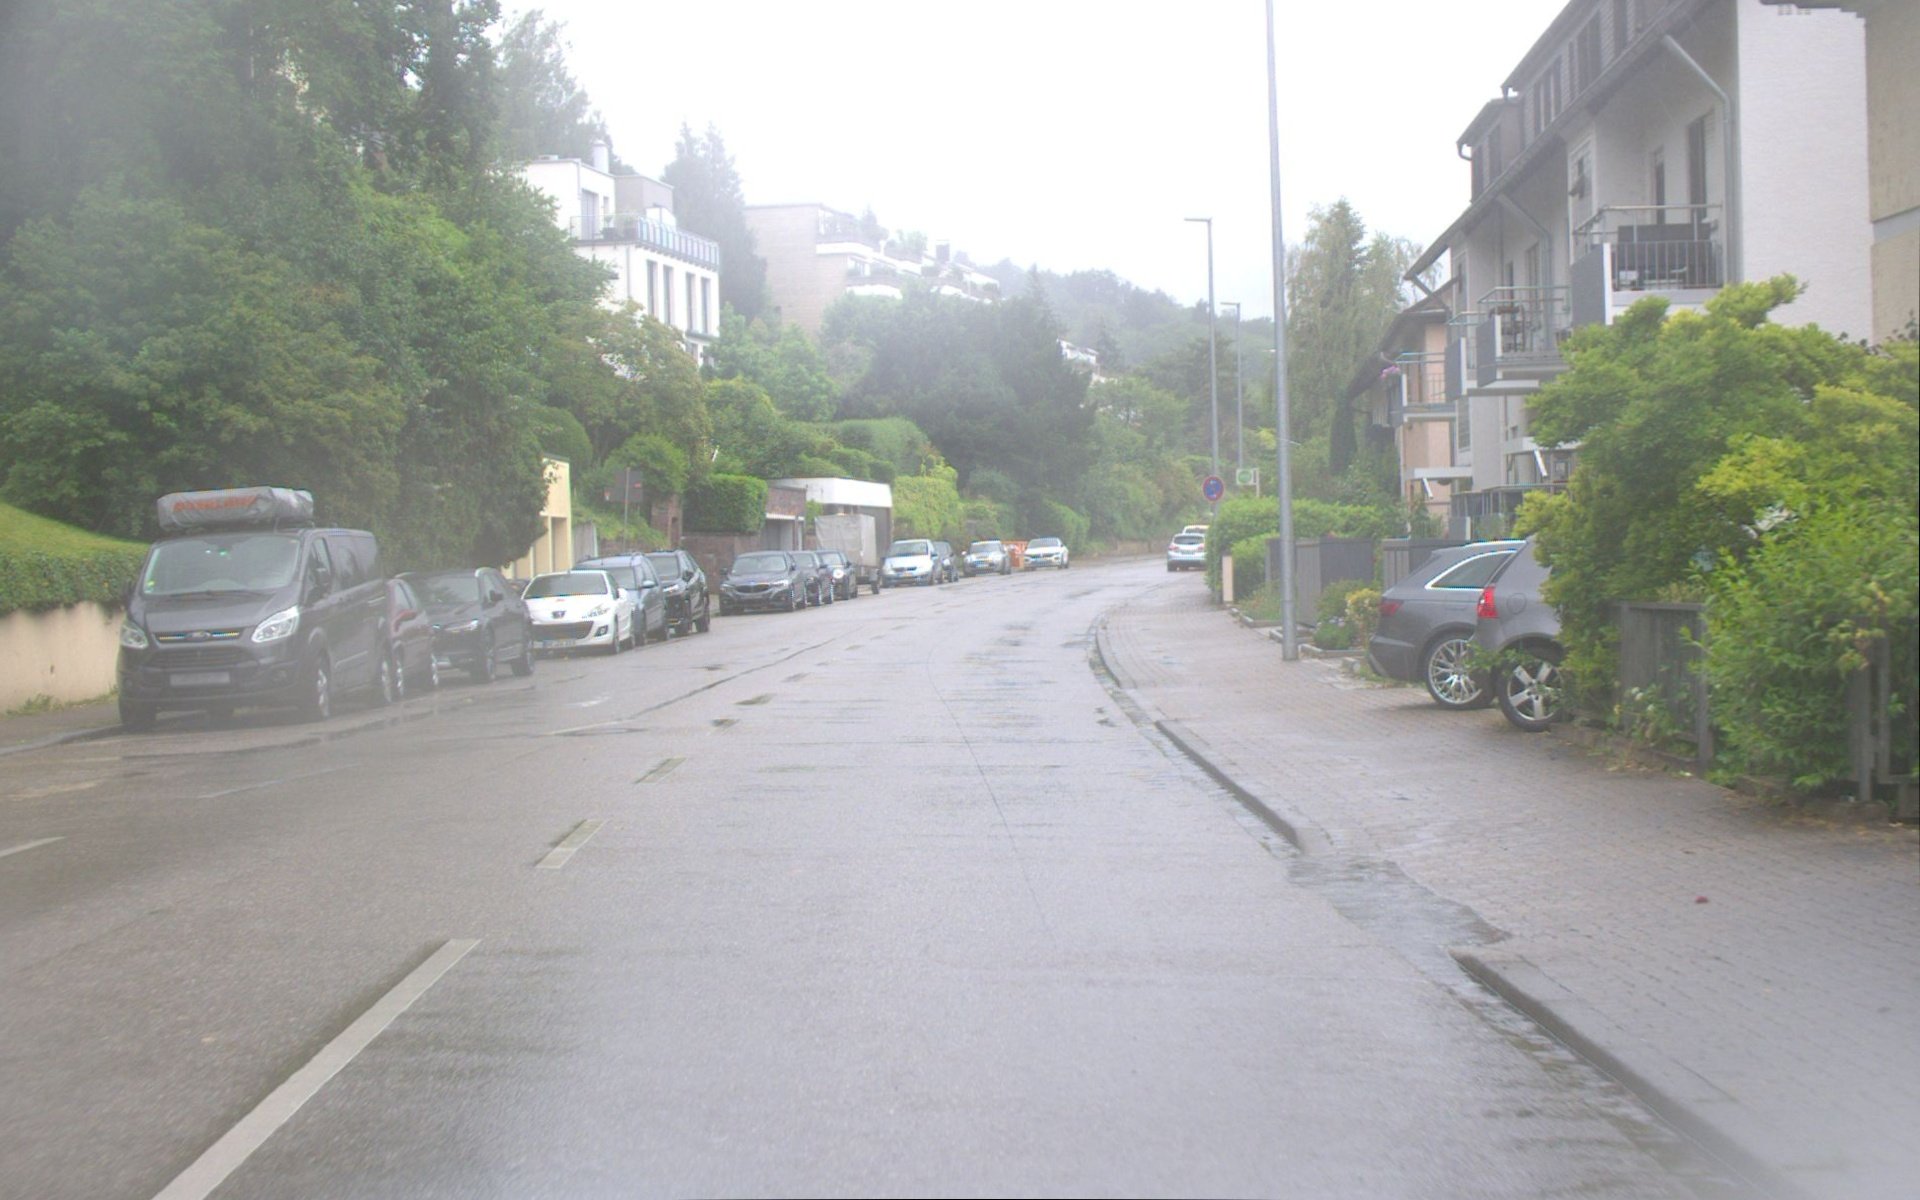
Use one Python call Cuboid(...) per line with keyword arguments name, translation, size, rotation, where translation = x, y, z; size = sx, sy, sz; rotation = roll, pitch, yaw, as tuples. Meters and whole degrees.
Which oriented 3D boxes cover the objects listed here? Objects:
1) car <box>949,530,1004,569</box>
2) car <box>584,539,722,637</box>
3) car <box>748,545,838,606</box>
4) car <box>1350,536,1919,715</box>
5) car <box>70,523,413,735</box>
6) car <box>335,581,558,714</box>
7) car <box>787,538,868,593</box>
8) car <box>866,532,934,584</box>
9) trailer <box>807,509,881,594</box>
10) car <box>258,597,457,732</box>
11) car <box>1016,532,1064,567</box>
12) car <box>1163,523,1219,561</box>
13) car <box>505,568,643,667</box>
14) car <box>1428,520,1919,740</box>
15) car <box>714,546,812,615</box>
Cuboid(name="car", translation=(0.678, -2.072, 139.809), size=(1.756, 1.397, 3.769), rotation=(-4, 1, 6))
Cuboid(name="car", translation=(-5.913, -0.264, 66.799), size=(1.874, 1.620, 4.593), rotation=(-5, 2, 4))
Cuboid(name="car", translation=(-4.368, -0.665, 90.686), size=(1.786, 1.410, 4.217), rotation=(-3, 2, 4))
Cuboid(name="car", translation=(5.598, 0.200, 28.144), size=(4.377, 1.359, 1.916), rotation=(-1, 0, 35))
Cuboid(name="car", translation=(-7.242, 0.228, 35.286), size=(2.158, 1.912, 5.323), rotation=(-3, 1, 2))
Cuboid(name="car", translation=(-6.747, 0.586, 45.641), size=(1.908, 1.475, 4.755), rotation=(-5, 1, 3))
Cuboid(name="car", translation=(-3.723, -0.988, 97.493), size=(1.808, 1.344, 3.776), rotation=(-3, 2, 4))
Cuboid(name="car", translation=(-2.035, -1.440, 117.165), size=(1.756, 1.534, 3.756), rotation=(-5, 2, 6))
Cuboid(name="trailer", translation=(-3.461, -1.474, 102.968), size=(1.537, 2.391, 3.072), rotation=(-4, 1, 8))
Cuboid(name="car", translation=(-7.089, 0.732, 40.758), size=(1.564, 1.360, 3.907), rotation=(-4, 1, 1))
Cuboid(name="car", translation=(3.699, -2.342, 158.740), size=(1.756, 1.492, 4.219), rotation=(-3, 1, 7))
Cuboid(name="car", translation=(9.372, -2.350, 139.272), size=(1.790, 1.455, 4.307), rotation=(-1, 1, 9))
Cuboid(name="car", translation=(-6.339, 0.260, 56.815), size=(1.716, 1.360, 4.084), rotation=(-4, 2, 0))
Cuboid(name="car", translation=(5.584, 0.195, 24.753), size=(3.995, 1.452, 1.769), rotation=(-1, 2, 35))
Cuboid(name="car", translation=(-4.816, -0.501, 84.638), size=(1.786, 1.450, 4.755), rotation=(-4, 2, 3))
